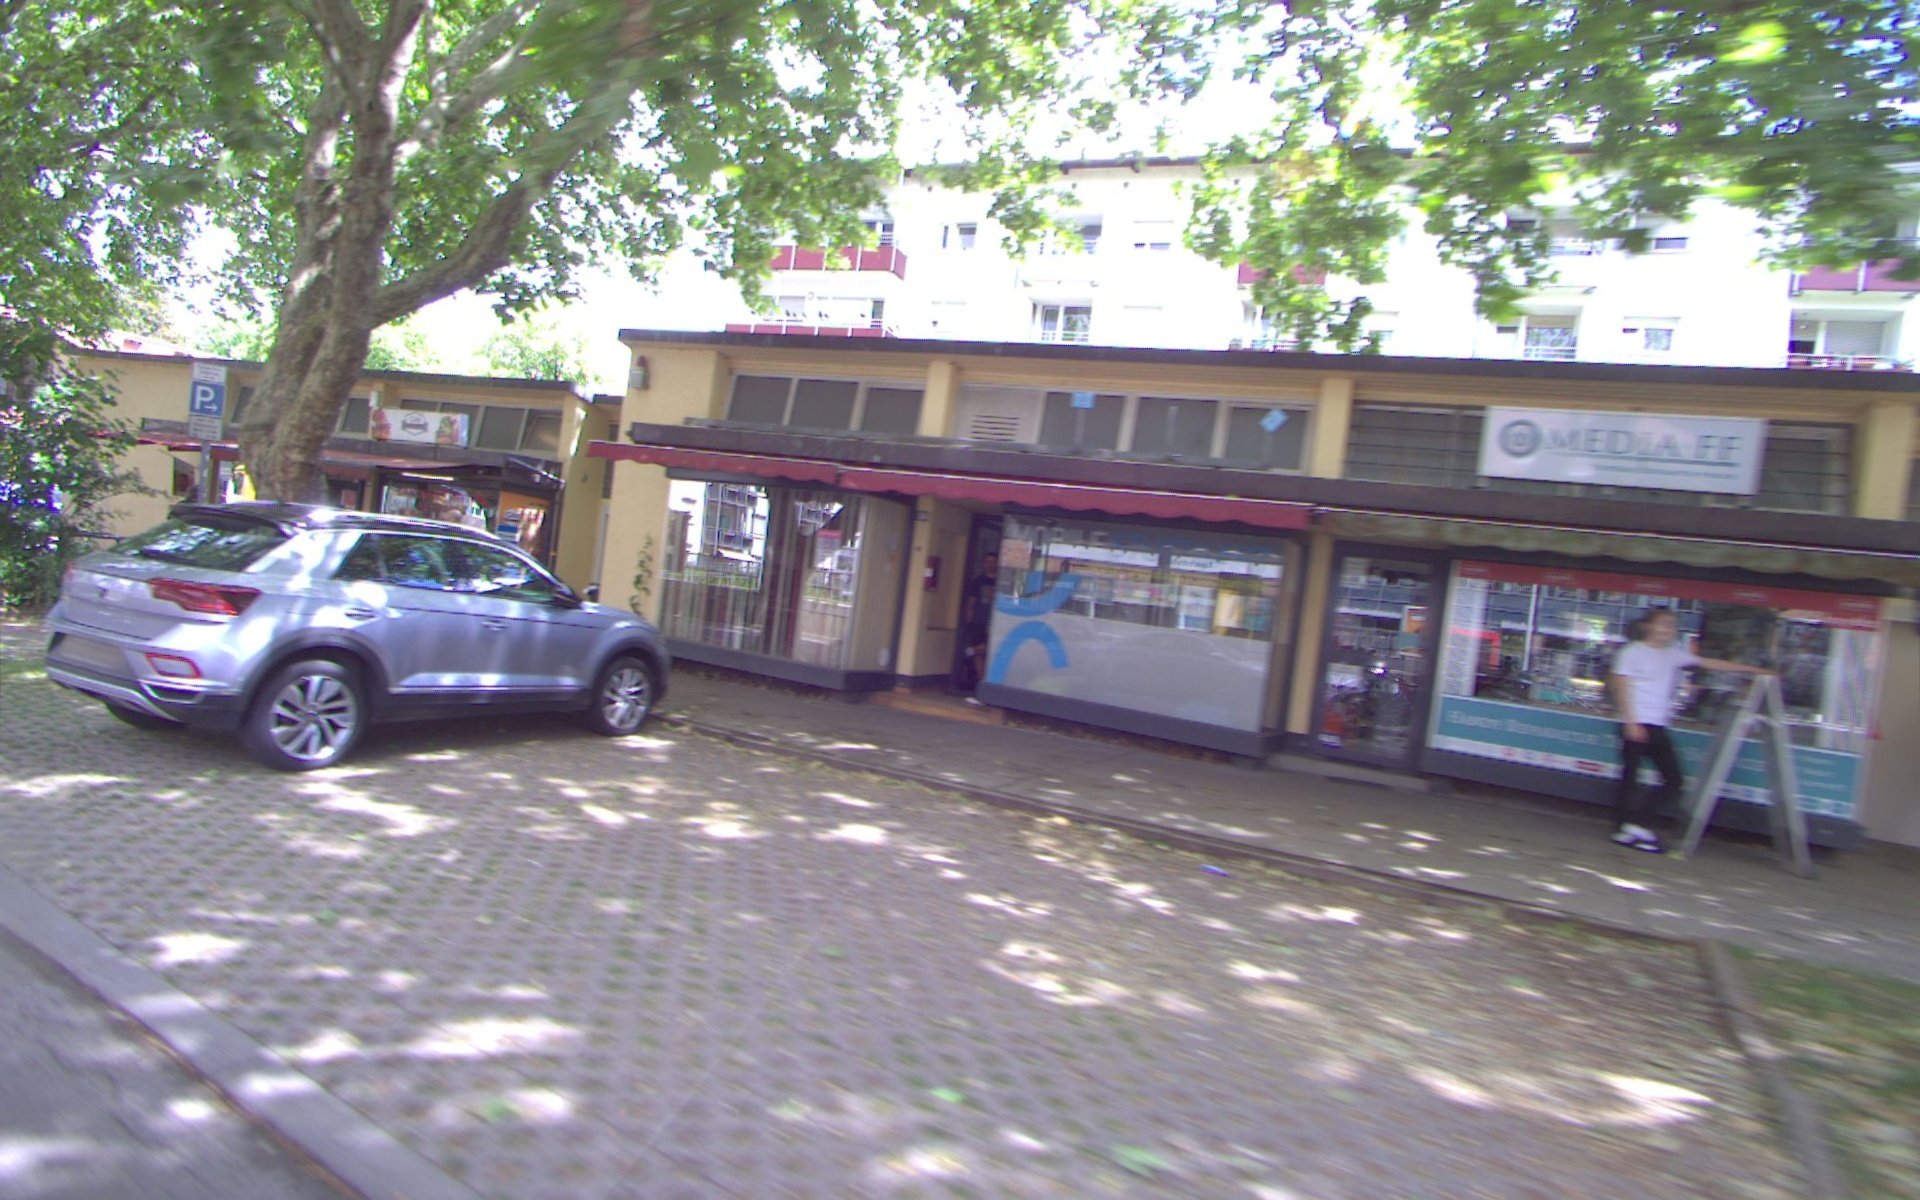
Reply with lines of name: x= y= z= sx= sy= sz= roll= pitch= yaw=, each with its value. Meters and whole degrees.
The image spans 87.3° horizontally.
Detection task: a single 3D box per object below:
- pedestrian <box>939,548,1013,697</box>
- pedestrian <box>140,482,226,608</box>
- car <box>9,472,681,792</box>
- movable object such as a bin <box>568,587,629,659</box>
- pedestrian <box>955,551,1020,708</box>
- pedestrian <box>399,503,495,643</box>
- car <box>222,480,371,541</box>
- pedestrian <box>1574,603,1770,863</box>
pedestrian: x=0.206 y=0.279 z=12.669 sx=0.642 sy=1.780 sz=0.373 roll=7 pitch=1 yaw=23
pedestrian: x=-11.152 y=-0.782 z=14.447 sx=0.759 sy=1.697 sz=0.624 roll=7 pitch=1 yaw=31
car: x=-3.989 y=0.200 z=7.285 sx=1.591 sy=1.582 sz=3.837 roll=7 pitch=1 yaw=24
movable object such as a bin: x=-5.055 y=0.324 z=14.080 sx=0.577 sy=0.926 sz=0.438 roll=7 pitch=2 yaw=22
pedestrian: x=0.319 y=0.336 z=11.478 sx=0.366 sy=1.726 sz=0.545 roll=7 pitch=2 yaw=24
pedestrian: x=-6.793 y=-0.341 z=13.334 sx=0.647 sy=1.747 sz=0.760 roll=7 pitch=2 yaw=27
car: x=-22.686 y=-3.035 z=34.568 sx=1.498 sy=1.462 sz=3.997 roll=8 pitch=1 yaw=23
pedestrian: x=5.347 y=0.982 z=7.587 sx=0.911 sy=1.824 sz=0.604 roll=5 pitch=1 yaw=-15
